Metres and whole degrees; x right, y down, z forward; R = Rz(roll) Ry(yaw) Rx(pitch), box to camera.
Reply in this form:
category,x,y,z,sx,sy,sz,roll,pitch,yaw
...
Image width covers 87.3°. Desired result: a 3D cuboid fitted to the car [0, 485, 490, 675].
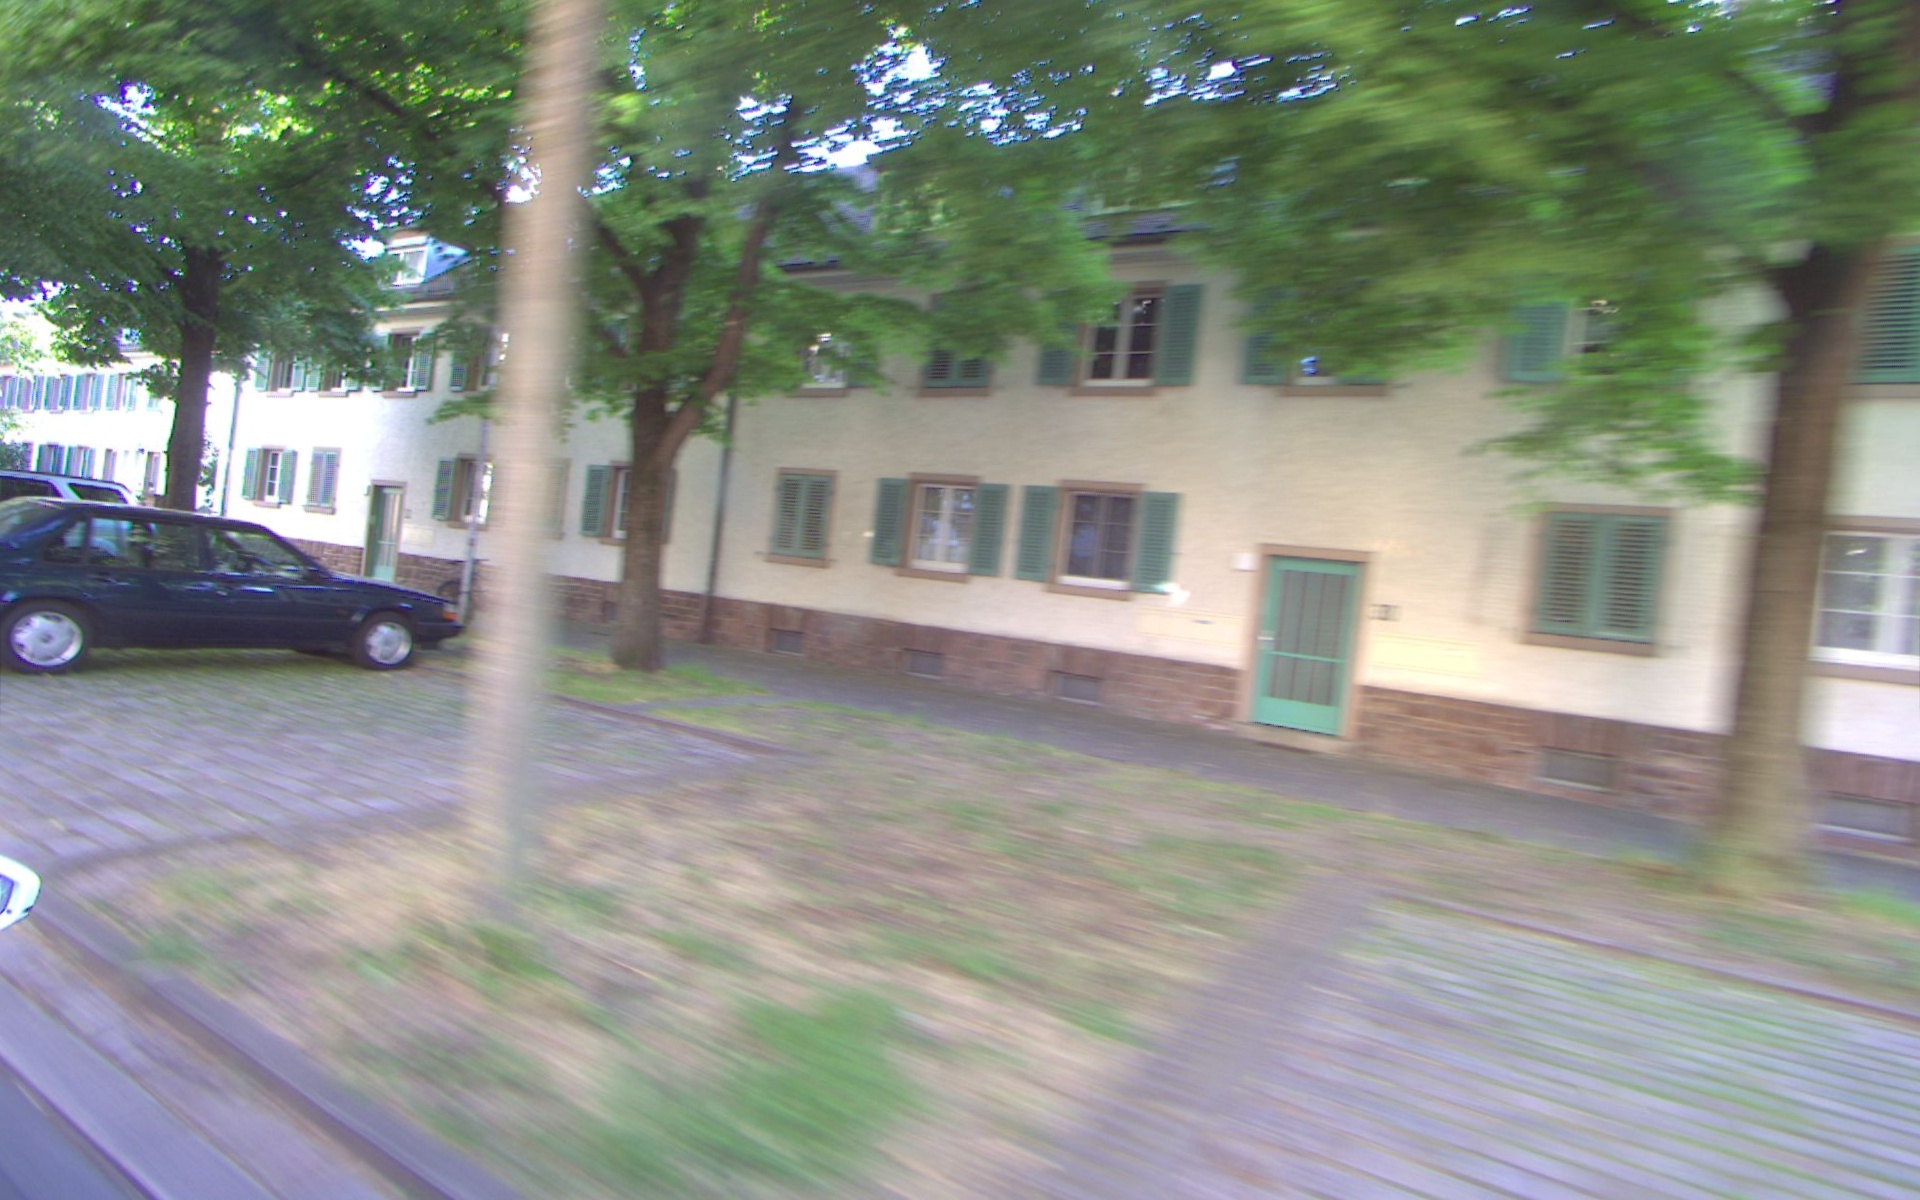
category,x,y,z,sx,sy,sz,roll,pitch,yaw
car,-7.364,-0.159,9.696,1.909,1.460,4.900,6,0,28

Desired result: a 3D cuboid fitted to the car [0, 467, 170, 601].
category,x,y,z,sx,sy,sz,roll,pitch,yaw
car,-13.616,-1.004,13.360,1.909,1.692,4.480,8,2,28

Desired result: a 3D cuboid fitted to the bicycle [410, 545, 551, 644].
category,x,y,z,sx,sy,sz,roll,pitch,yaw
bicycle,-6.992,-0.086,14.662,1.899,1.177,0.630,7,0,23

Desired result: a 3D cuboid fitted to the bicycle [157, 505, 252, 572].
category,x,y,z,sx,sy,sz,roll,pitch,yaw
bicycle,-18.986,-1.535,25.291,1.967,1.416,0.802,7,0,17
